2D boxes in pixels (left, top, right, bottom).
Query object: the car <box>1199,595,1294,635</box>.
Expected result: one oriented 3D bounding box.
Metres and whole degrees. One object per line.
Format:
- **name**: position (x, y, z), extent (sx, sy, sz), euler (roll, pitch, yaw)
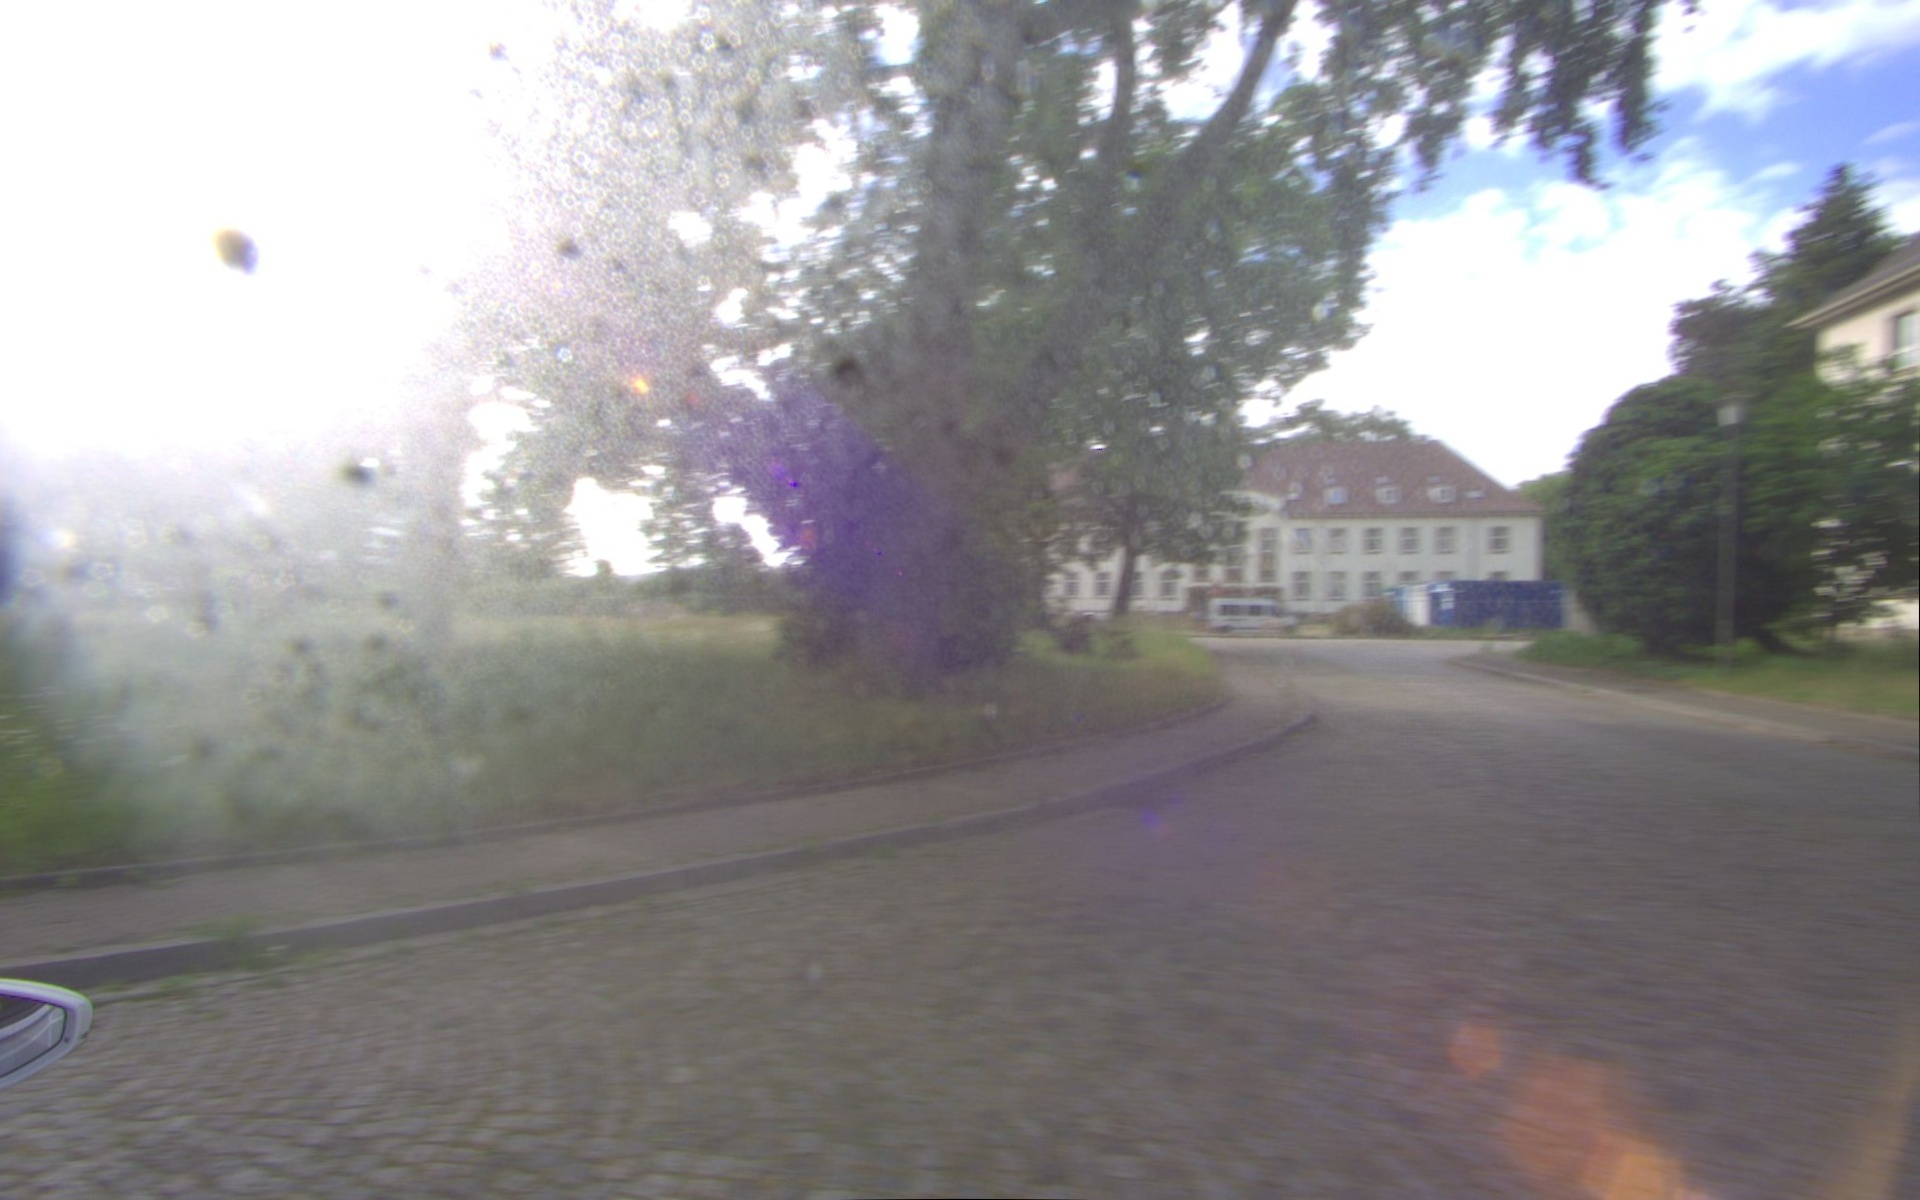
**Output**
- **car**: position (17.663, 0.896, 62.010), extent (5.428, 2.238, 2.123), euler (1, 3, 13)
